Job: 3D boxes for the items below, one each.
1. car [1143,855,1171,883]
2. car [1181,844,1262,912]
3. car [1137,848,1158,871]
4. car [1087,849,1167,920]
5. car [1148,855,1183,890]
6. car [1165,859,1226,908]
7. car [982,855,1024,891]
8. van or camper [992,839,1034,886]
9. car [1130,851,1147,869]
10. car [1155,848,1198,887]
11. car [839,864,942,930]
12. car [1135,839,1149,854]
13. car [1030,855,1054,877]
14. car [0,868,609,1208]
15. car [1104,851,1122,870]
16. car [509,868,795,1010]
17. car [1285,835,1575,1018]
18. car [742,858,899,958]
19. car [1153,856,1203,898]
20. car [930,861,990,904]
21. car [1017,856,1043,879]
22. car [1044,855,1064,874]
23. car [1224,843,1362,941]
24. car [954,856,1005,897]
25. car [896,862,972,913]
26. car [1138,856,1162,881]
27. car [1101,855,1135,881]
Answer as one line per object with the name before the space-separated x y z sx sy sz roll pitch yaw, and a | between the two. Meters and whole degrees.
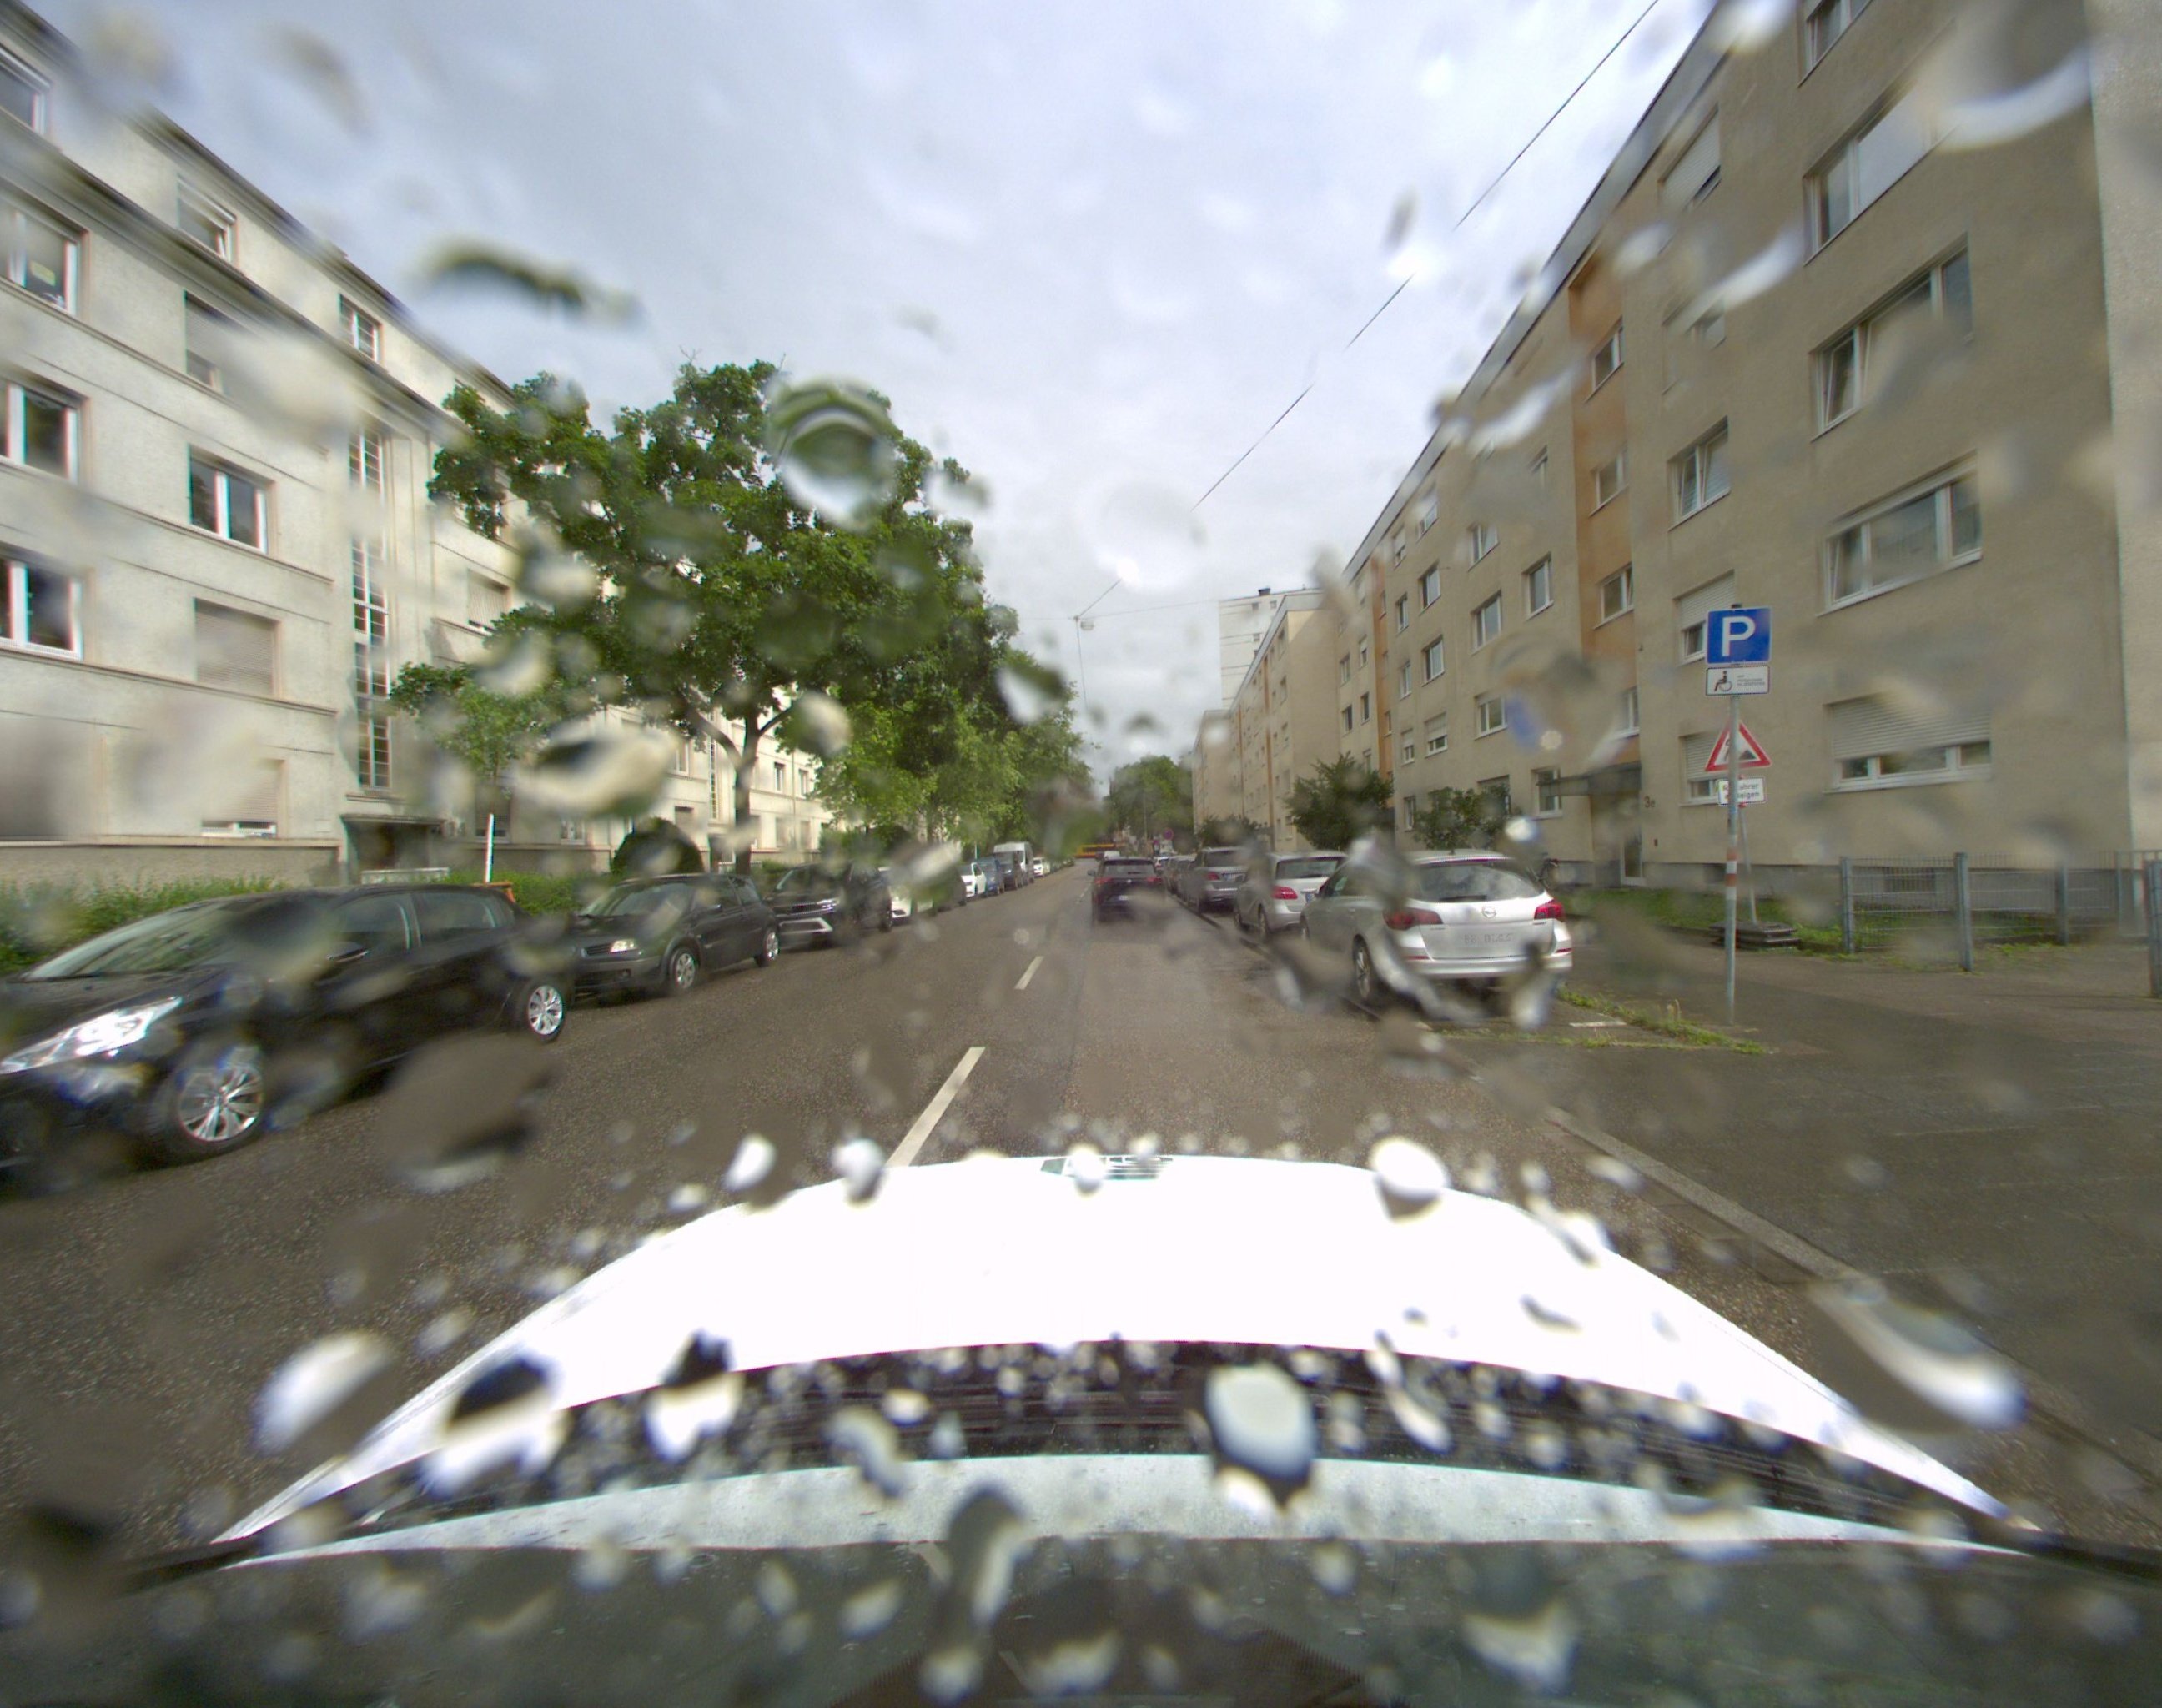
car | 5.252 1.022 56.910 1.598 1.765 4.034 -3 0 2
car | 3.851 0.618 22.881 1.598 1.672 4.034 -3 0 2
car | 5.659 0.417 69.402 1.658 1.838 4.004 -3 0 3
car | 1.265 0.715 21.117 1.864 1.645 4.068 0 0 5
car | 4.757 1.001 46.157 1.598 1.765 4.034 -3 0 2
car | 3.889 0.965 28.299 1.598 1.505 4.034 -3 0 2
car | -3.889 0.931 41.069 1.580 1.639 3.921 -3 0 1
van or camper | -3.893 0.450 47.430 1.796 2.493 5.021 -3 0 1
car | 6.211 0.634 88.523 1.658 1.838 4.004 -3 0 3
car | 4.418 0.593 38.140 1.598 1.635 4.034 -3 0 2
car | -4.782 1.018 20.935 1.580 1.418 3.921 -3 0 1
car | 8.025 -0.993 106.872 1.658 1.838 4.004 -3 0 3
car | -3.160 0.950 66.938 1.580 1.639 3.921 -3 0 1
car | -5.433 0.927 5.848 1.580 1.505 4.065 -3 0 1
car | 3.603 0.720 91.077 1.828 2.103 4.005 0 -1 4
car | -5.436 0.971 11.000 1.580 1.418 4.053 -3 0 1
car | 3.602 0.648 9.259 1.688 1.539 4.035 -3 0 3
car | -4.831 0.922 15.716 1.580 1.576 4.015 -3 0 1
car | 3.903 0.884 33.152 1.598 1.505 4.034 -3 0 2
car | -4.564 1.054 31.220 1.580 1.418 3.921 -3 0 1
car | -3.834 0.980 61.437 1.580 1.639 3.921 -3 0 1
car | -2.479 0.977 75.369 1.580 1.639 3.921 -3 0 1
car | 3.817 0.622 15.337 1.598 1.505 4.034 -3 0 2
car | -4.362 0.931 35.498 1.580 1.639 3.921 -3 0 1
car | -4.652 1.017 26.229 1.580 1.418 3.921 -3 0 1
car | 5.349 1.110 63.650 1.598 1.765 4.034 -3 0 2
car | 2.212 0.817 47.893 1.804 1.503 4.006 0 -1 6
